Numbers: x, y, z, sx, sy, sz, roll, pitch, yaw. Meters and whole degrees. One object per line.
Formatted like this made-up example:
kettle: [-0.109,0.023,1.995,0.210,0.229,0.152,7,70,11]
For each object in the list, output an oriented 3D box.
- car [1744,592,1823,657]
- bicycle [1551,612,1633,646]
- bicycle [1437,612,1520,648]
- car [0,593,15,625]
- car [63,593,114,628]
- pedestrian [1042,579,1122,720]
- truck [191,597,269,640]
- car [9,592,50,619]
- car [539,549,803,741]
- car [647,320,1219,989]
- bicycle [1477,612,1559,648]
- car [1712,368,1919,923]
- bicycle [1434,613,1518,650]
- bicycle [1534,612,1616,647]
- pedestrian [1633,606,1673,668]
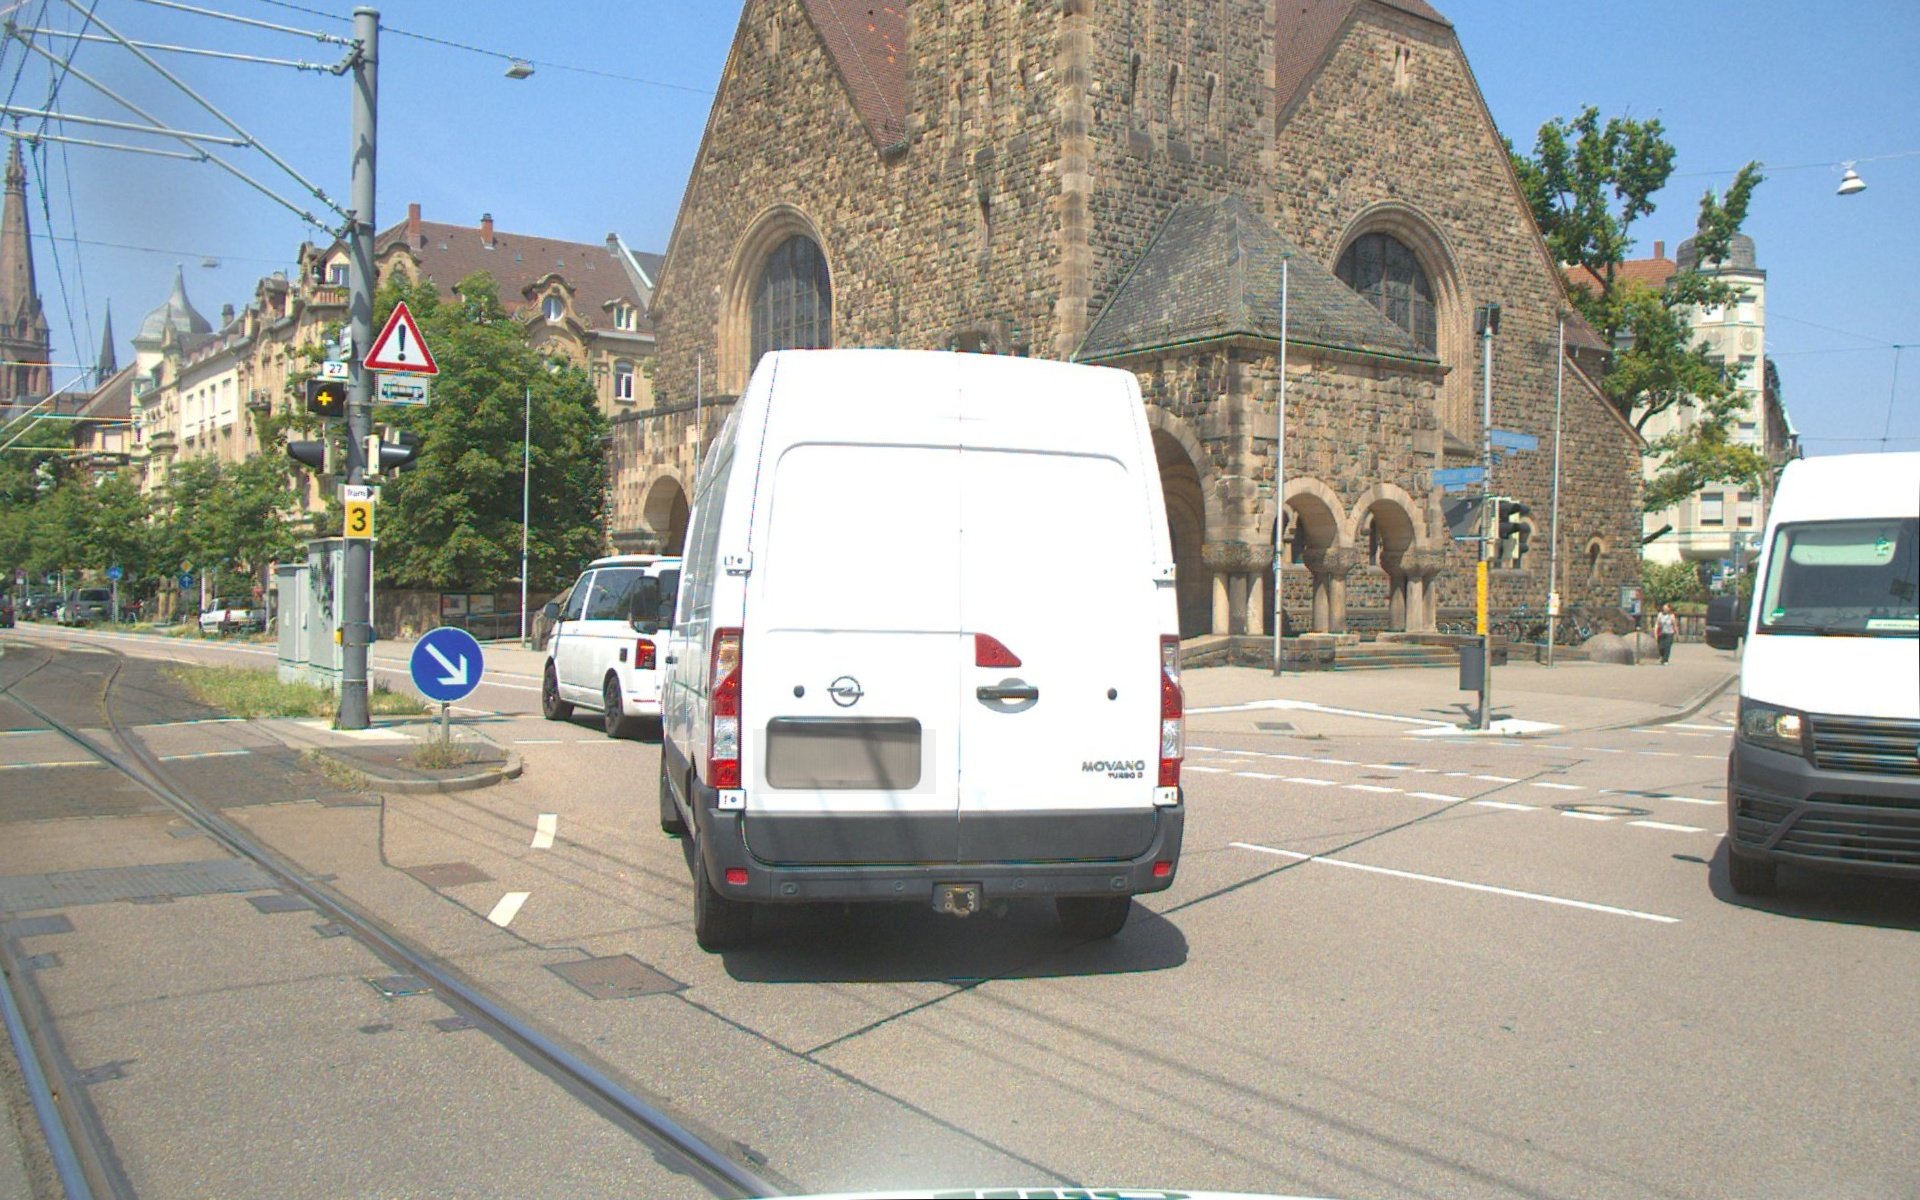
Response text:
car: [27.260,0.784,54.691,2.001,2.039,4.958,1,0,30]
bicycle: [19.899,0.896,52.113,0.698,1.029,2.468,0,0,-35]
bicycle: [15.543,0.894,49.625,0.698,1.029,2.468,0,0,-35]
car: [-48.376,0.424,82.488,1.737,1.566,3.709,1,-1,-37]
car: [-44.267,0.527,83.968,1.737,1.735,3.709,1,-1,-37]
pedestrian: [1.642,0.662,22.309,0.734,1.854,0.825,1,-1,-30]
truck: [-27.727,0.683,62.769,1.776,1.553,4.407,0,0,-37]
car: [-57.885,0.345,102.880,1.737,1.606,3.709,1,-1,-37]
car: [-3.489,0.477,19.314,1.894,1.978,4.227,1,-1,-27]
car: [-0.528,0.227,8.889,2.080,2.502,5.038,1,0,-13]
bicycle: [17.028,0.895,50.509,0.698,1.029,2.468,0,0,-35]
car: [6.300,0.203,10.849,2.031,2.683,6.623,0,0,29]
bicycle: [15.047,0.902,48.300,0.698,1.029,2.468,0,0,-35]
bicycle: [19.121,0.897,51.458,0.698,1.029,2.468,0,0,-35]
pedestrian: [18.016,0.964,42.989,0.785,1.586,0.709,2,-1,-44]
